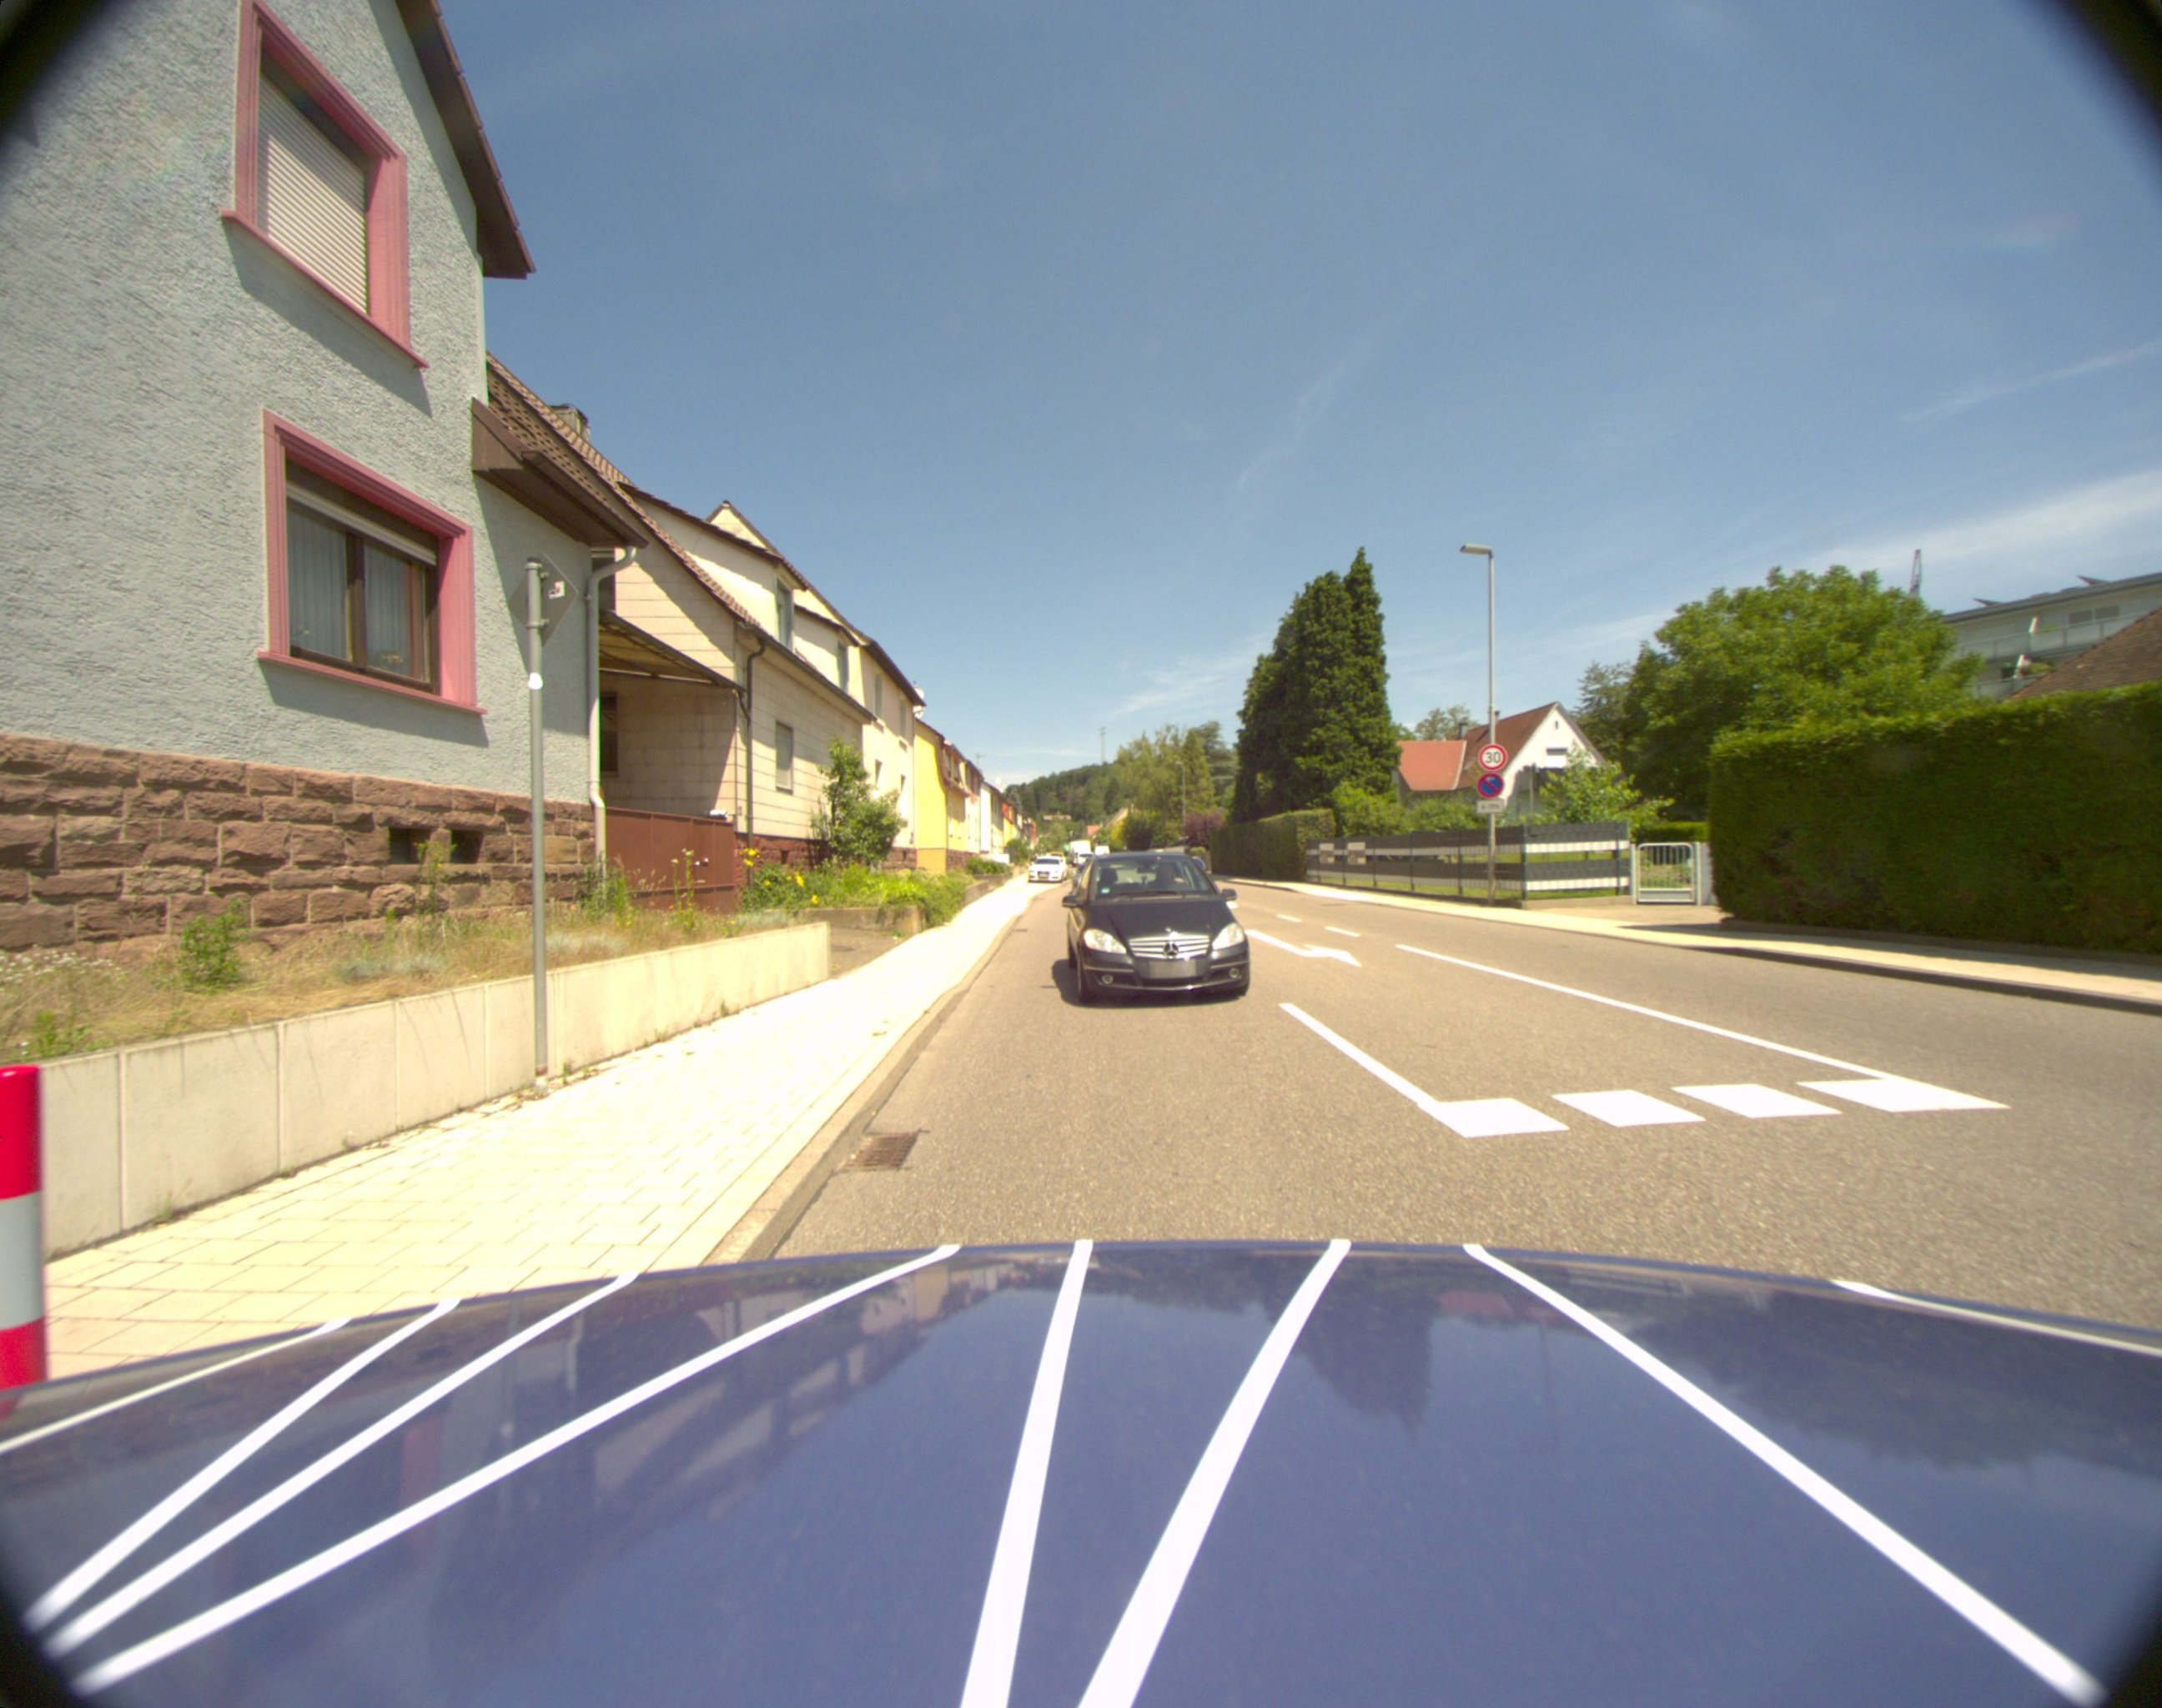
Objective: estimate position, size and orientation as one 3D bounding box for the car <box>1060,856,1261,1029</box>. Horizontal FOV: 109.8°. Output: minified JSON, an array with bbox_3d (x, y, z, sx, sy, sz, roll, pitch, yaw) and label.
[{"bbox_3d":[0.708,0.845,9.277,1.868,1.580,4.156,-2,0,-1],"label":"car"}]

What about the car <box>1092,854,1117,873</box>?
[{"bbox_3d":[1.867,0.739,61.186,1.864,1.441,3.999,0,0,-1],"label":"car"}]

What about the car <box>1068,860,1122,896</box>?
[{"bbox_3d":[0.508,0.932,31.359,1.911,1.296,4.155,-1,0,-3],"label":"car"}]

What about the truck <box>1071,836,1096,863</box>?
[{"bbox_3d":[0.264,-0.603,103.674,3.149,3.467,8.270,-1,0,-1],"label":"truck"}]

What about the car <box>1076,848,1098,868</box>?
[{"bbox_3d":[0.640,0.436,81.294,1.999,2.002,4.546,-3,0,-3],"label":"car"}]

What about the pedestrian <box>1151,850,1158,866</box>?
[{"bbox_3d":[6.883,0.354,70.769,0.555,1.477,0.483,-3,1,0],"label":"pedestrian"}]

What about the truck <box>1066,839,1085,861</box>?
[{"bbox_3d":[-0.949,-0.718,127.613,3.149,3.467,8.270,-1,0,-1],"label":"truck"}]

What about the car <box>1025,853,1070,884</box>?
[{"bbox_3d":[-1.794,0.772,41.751,1.998,1.510,4.145,3,1,3],"label":"car"}]
